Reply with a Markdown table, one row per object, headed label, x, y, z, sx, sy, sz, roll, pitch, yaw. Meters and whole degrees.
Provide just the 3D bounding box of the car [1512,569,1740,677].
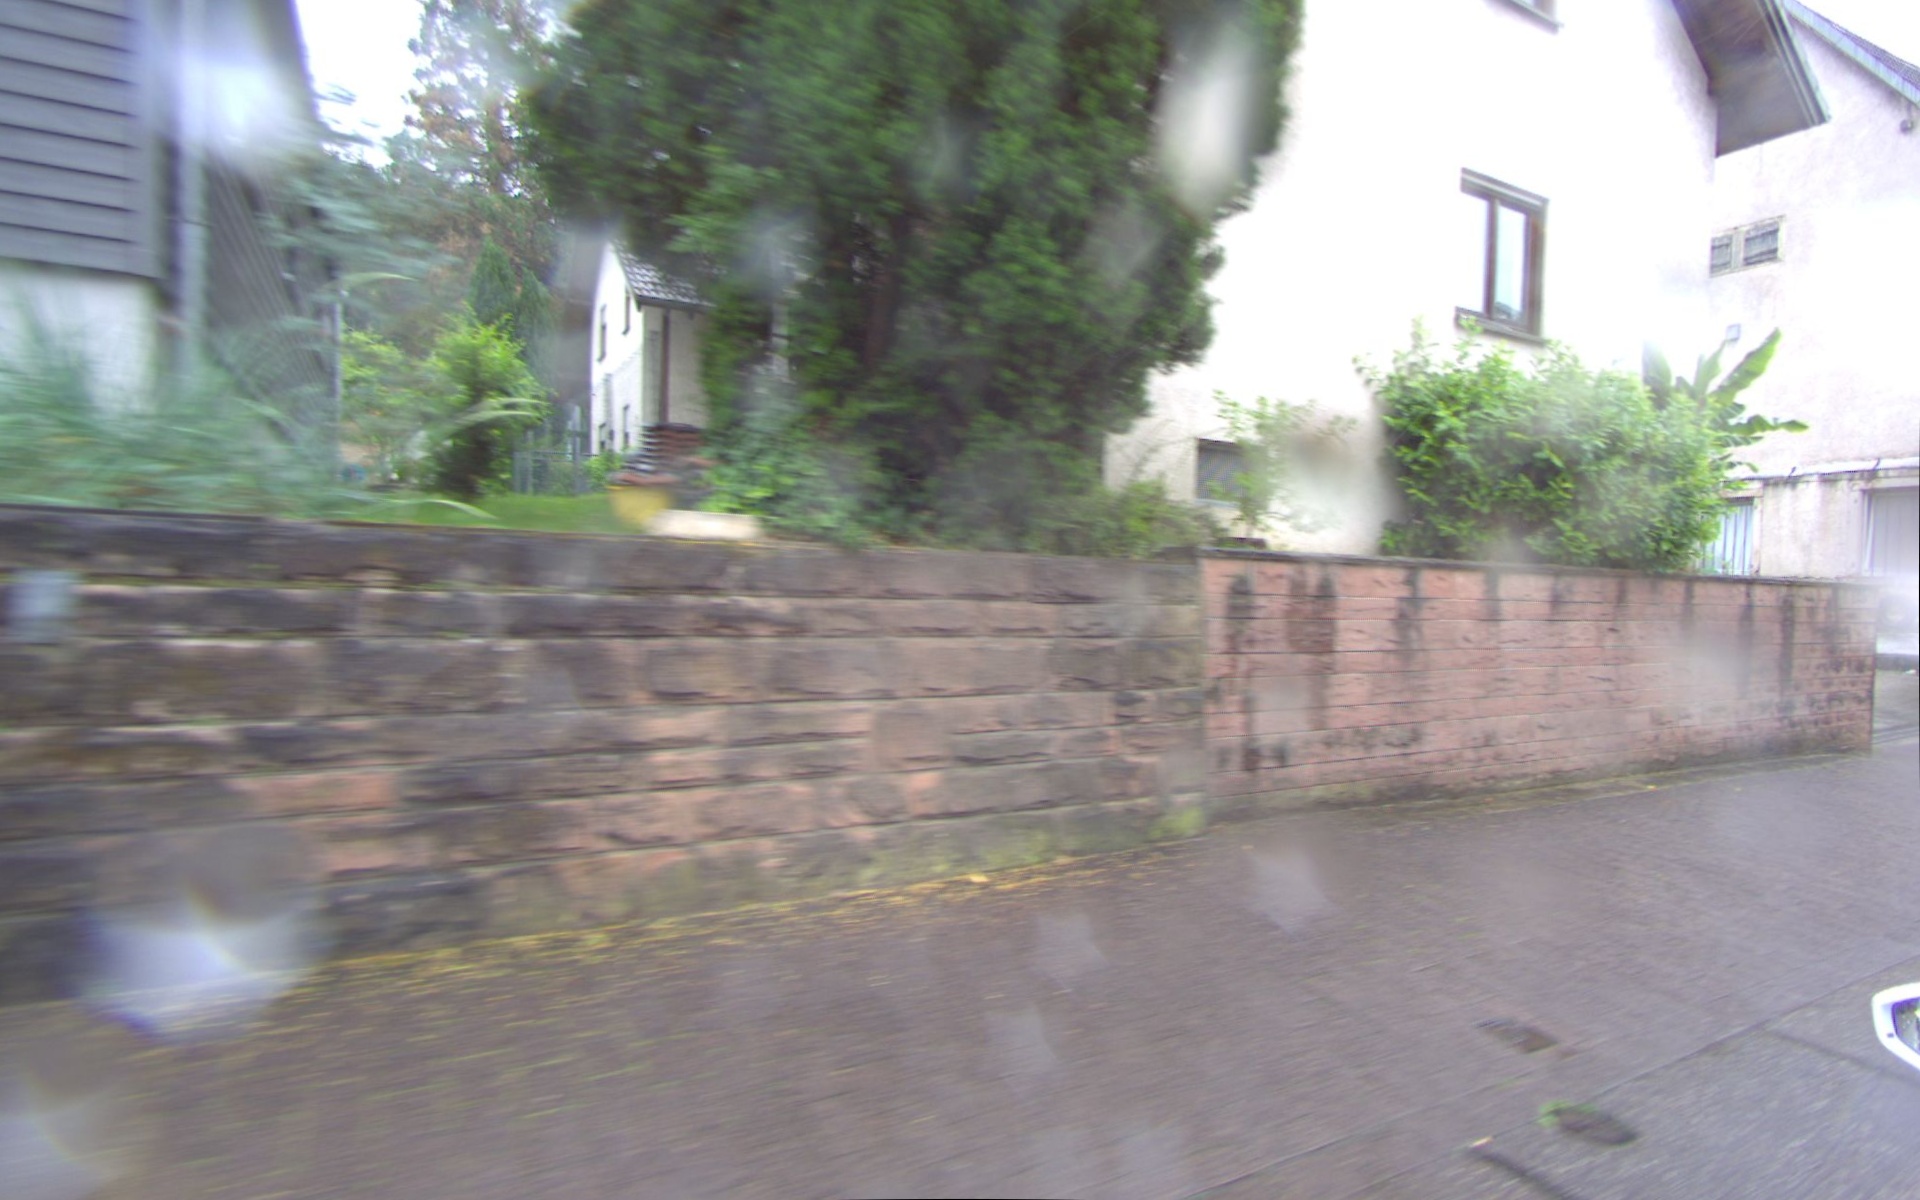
| label | x | y | z | sx | sy | sz | roll | pitch | yaw |
| --- | --- | --- | --- | --- | --- | --- | --- | --- | --- |
| car | 12.509 | 0.327 | 18.816 | 4.256 | 1.739 | 1.975 | -2 | 3 | -32 |
